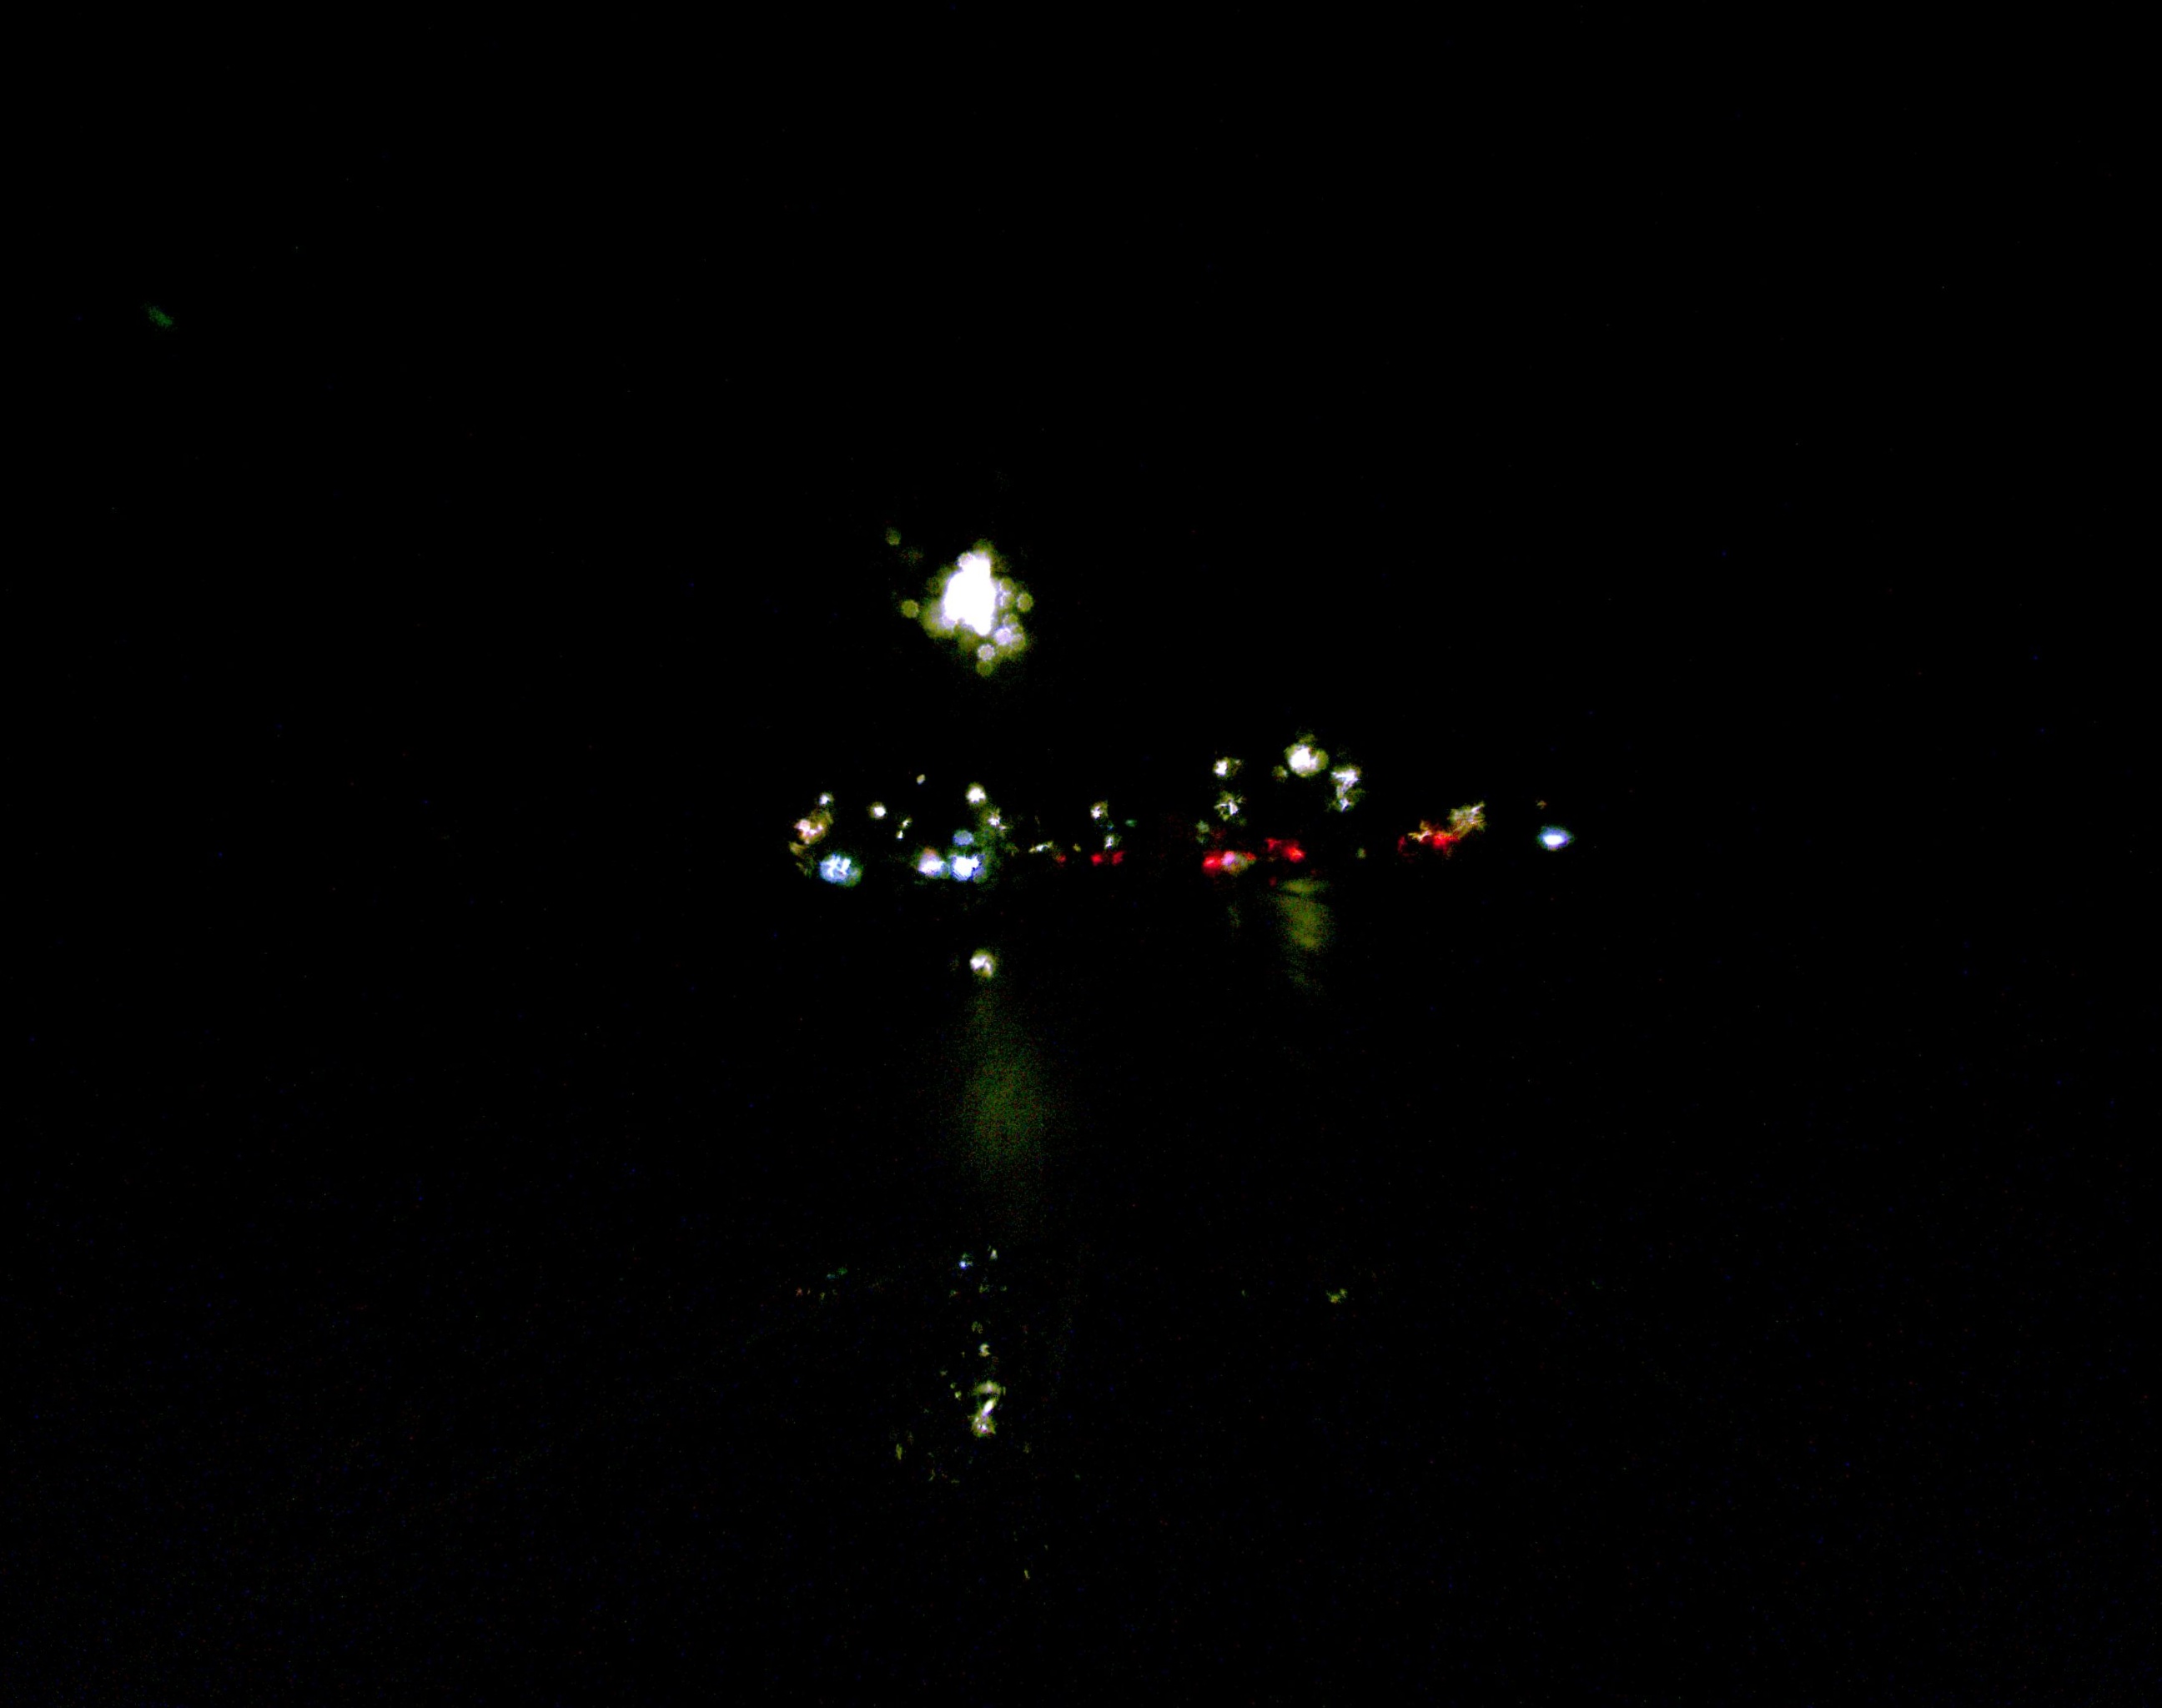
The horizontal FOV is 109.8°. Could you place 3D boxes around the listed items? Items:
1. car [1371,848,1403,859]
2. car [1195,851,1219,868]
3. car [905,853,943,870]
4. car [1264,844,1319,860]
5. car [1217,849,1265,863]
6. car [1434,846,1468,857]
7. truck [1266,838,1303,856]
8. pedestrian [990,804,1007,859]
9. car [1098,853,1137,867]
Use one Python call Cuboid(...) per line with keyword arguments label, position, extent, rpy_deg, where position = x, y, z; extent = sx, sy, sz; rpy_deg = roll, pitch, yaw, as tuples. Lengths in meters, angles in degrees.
Cuboid(label="car", position=(46.168, -0.064, 114.705), extent=(4.420, 1.612, 2.003), rpy_deg=(-1, 0, 25))
Cuboid(label="car", position=(11.843, 0.487, 71.613), extent=(1.997, 1.447, 4.305), rpy_deg=(2, 1, 8))
Cuboid(label="car", position=(-17.382, 0.808, 83.823), extent=(3.988, 1.775, 2.004), rpy_deg=(0, 1, 39))
Cuboid(label="car", position=(26.340, -0.244, 95.049), extent=(6.446, 1.805, 1.997), rpy_deg=(-1, 1, -16))
Cuboid(label="car", position=(18.181, 0.253, 86.405), extent=(5.104, 1.457, 1.996), rpy_deg=(-2, 1, -22))
Cuboid(label="car", position=(53.194, -0.372, 109.278), extent=(4.420, 1.612, 2.003), rpy_deg=(-1, 1, 25))
Cuboid(label="truck", position=(27.728, -0.960, 103.175), extent=(2.316, 2.383, 7.828), rpy_deg=(0, 1, 35))
Cuboid(label="pedestrian", position=(-3.080, -0.818, 28.362), extent=(0.550, 2.001, 0.743), rpy_deg=(-1, -2, 1))
Cuboid(label="car", position=(4.320, 0.677, 90.159), extent=(4.430, 1.612, 1.999), rpy_deg=(-1, 1, -4))
